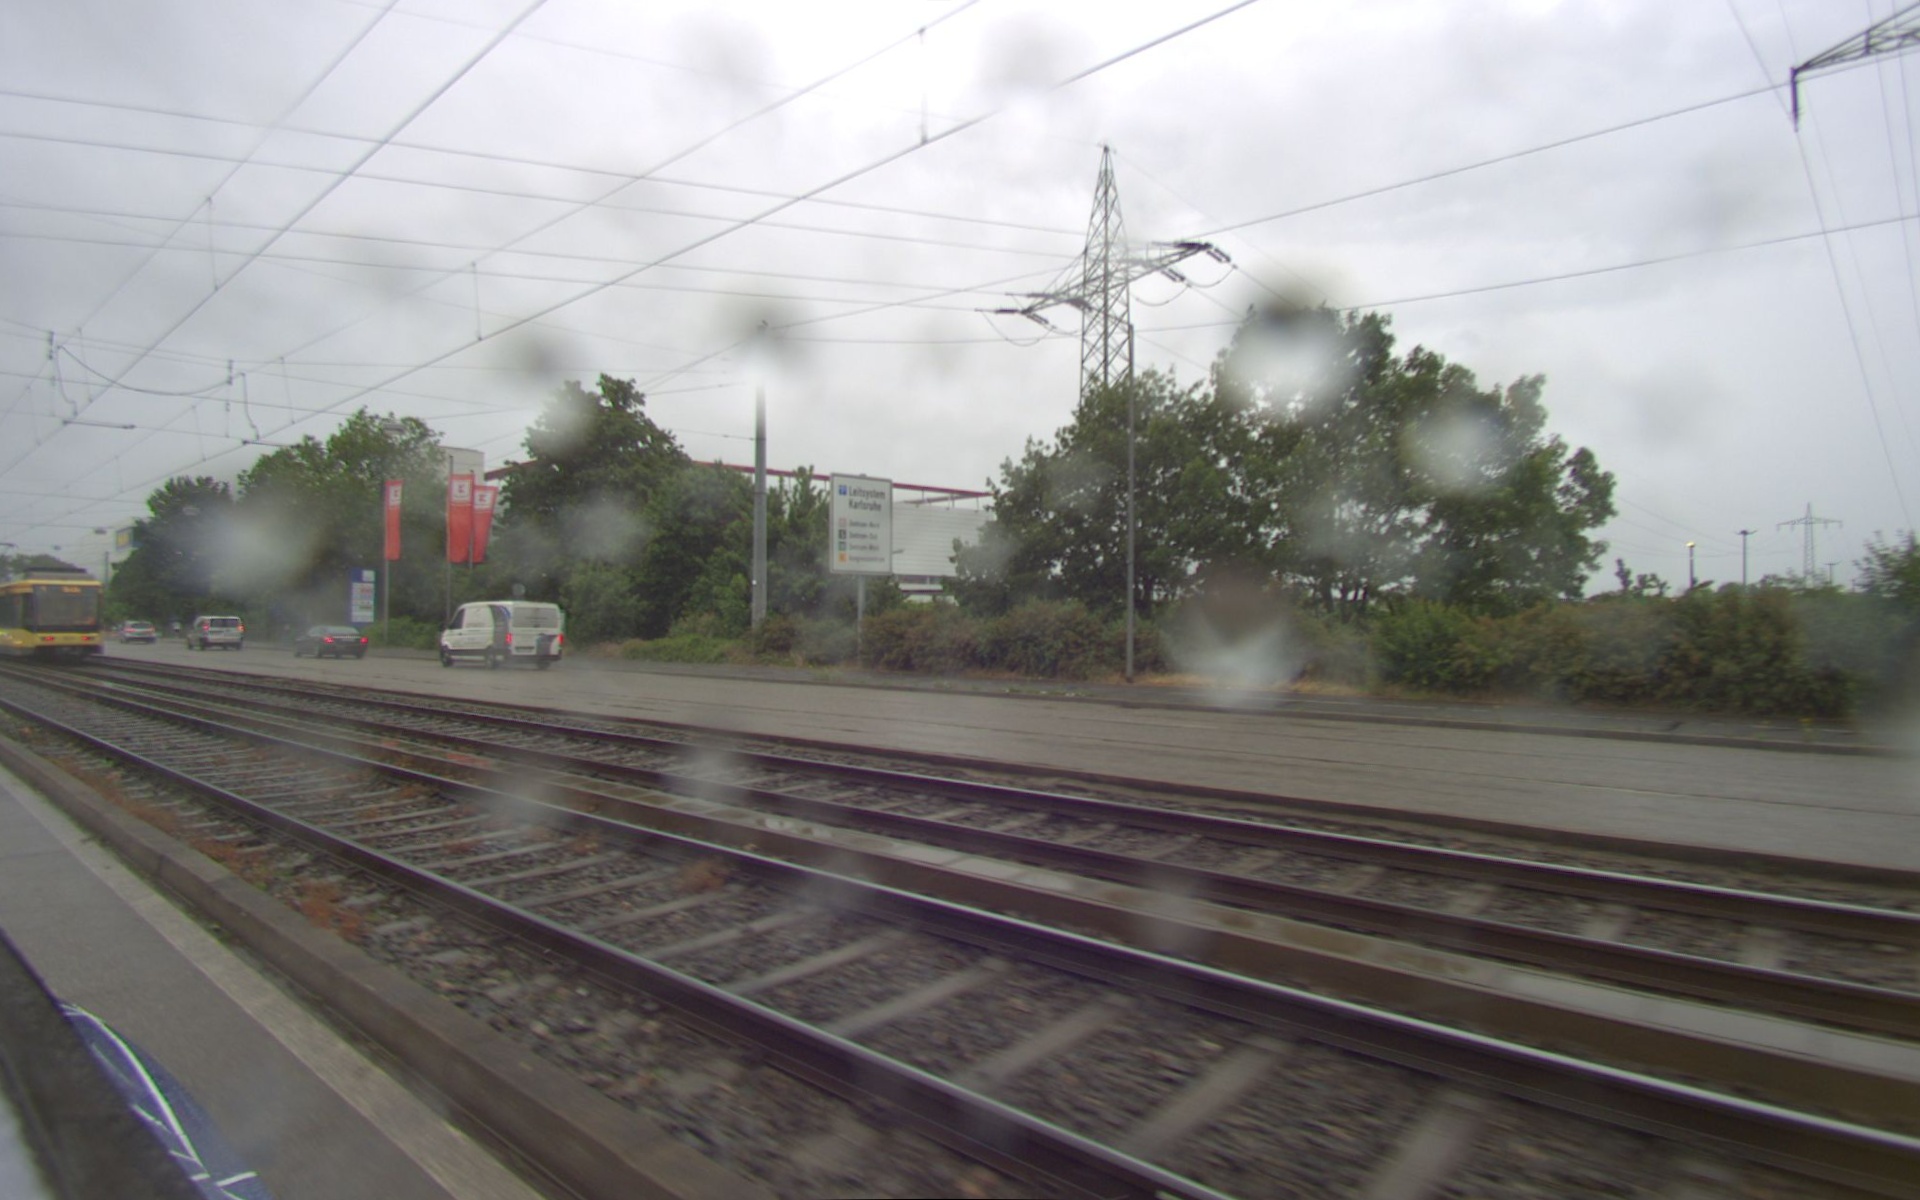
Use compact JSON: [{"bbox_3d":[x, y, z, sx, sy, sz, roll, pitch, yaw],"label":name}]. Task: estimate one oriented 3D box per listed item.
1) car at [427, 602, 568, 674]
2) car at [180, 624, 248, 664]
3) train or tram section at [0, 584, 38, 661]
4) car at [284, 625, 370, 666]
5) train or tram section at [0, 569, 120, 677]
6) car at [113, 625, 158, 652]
[{"bbox_3d":[-16.309,1.387,35.550,5.979,2.316,2.128,-2,-5,41],"label":"car"},{"bbox_3d":[-41.999,2.480,56.915,4.727,2.116,2.068,-2,-1,41],"label":"car"},{"bbox_3d":[-53.399,1.364,55.005,17.879,3.734,2.835,-2,-1,41],"label":"train or tram section"},{"bbox_3d":[-27.936,1.982,44.602,4.727,1.653,1.877,-2,-1,41],"label":"car"},{"bbox_3d":[-39.303,1.098,42.694,19.517,3.734,2.856,-2,-1,41],"label":"train or tram section"},{"bbox_3d":[-60.626,2.830,74.397,3.997,1.929,1.844,-2,-1,41],"label":"car"}]
